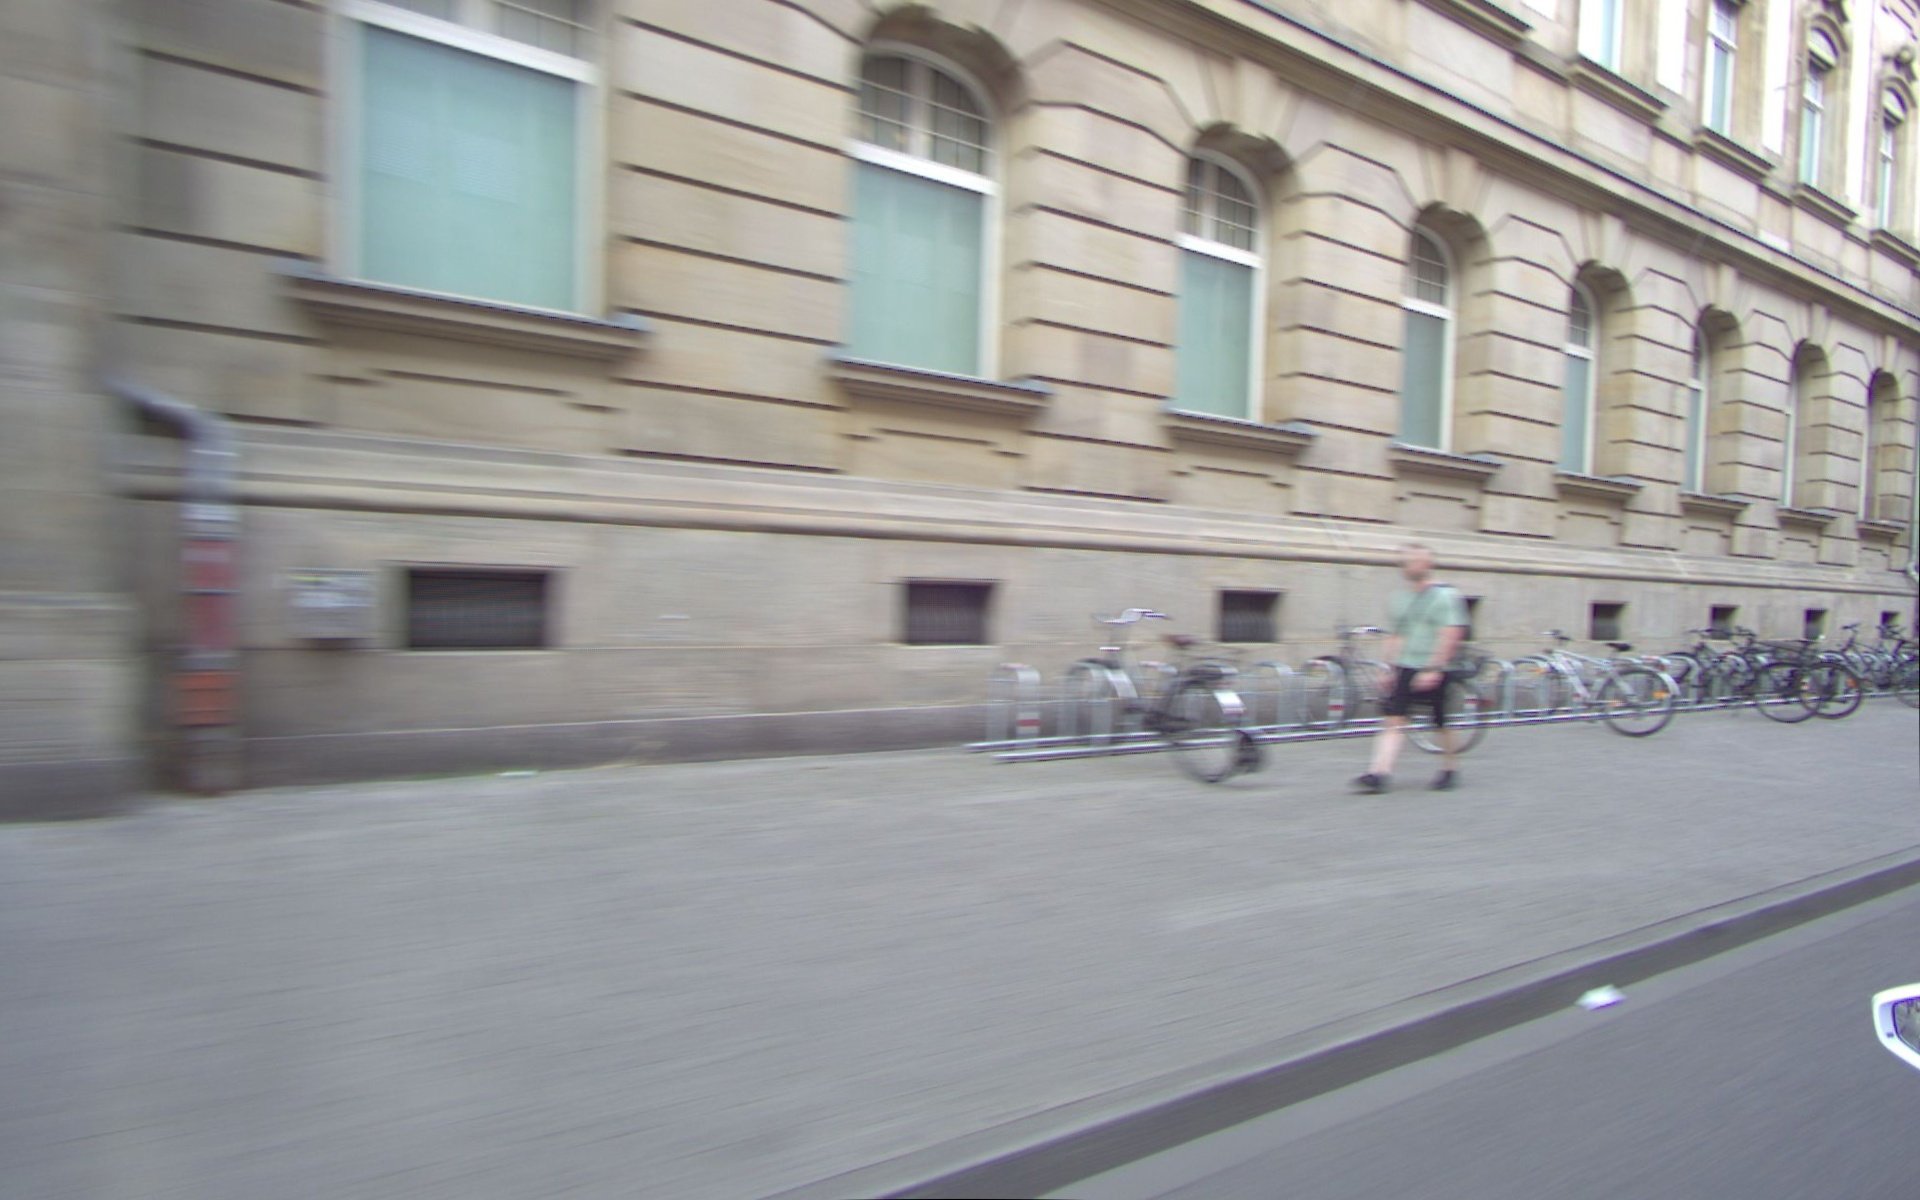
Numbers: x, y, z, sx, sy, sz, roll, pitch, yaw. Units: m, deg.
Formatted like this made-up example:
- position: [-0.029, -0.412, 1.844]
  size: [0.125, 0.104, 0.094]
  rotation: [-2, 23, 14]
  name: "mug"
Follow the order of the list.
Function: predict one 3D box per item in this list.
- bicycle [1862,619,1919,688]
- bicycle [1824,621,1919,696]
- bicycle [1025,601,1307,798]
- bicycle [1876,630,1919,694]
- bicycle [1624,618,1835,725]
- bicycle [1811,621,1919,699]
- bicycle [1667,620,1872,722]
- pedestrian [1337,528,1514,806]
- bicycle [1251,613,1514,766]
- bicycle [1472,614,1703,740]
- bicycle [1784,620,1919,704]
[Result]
- position: [16.495, 0.943, 16.798]
  size: [0.740, 1.093, 1.926]
  rotation: [2, 3, -31]
  name: "bicycle"
- position: [15.363, 0.971, 16.255]
  size: [0.723, 1.093, 1.922]
  rotation: [1, 3, -37]
  name: "bicycle"
- position: [1.423, 0.642, 7.365]
  size: [0.723, 1.124, 2.003]
  rotation: [1, 3, -37]
  name: "bicycle"
- position: [17.224, 1.122, 17.347]
  size: [0.714, 1.060, 1.922]
  rotation: [1, 2, -35]
  name: "bicycle"
- position: [9.597, 0.853, 12.605]
  size: [0.723, 1.093, 1.922]
  rotation: [1, 3, -37]
  name: "bicycle"
- position: [14.749, 0.950, 15.794]
  size: [0.723, 1.093, 1.922]
  rotation: [1, 3, -37]
  name: "bicycle"
- position: [10.598, 0.890, 13.220]
  size: [0.723, 1.093, 1.922]
  rotation: [1, 3, -37]
  name: "bicycle"
- position: [3.240, 0.427, 7.018]
  size: [0.791, 1.804, 0.713]
  rotation: [1, 3, -31]
  name: "pedestrian"
- position: [3.743, 0.733, 9.023]
  size: [1.995, 1.093, 0.727]
  rotation: [5, 3, 40]
  name: "bicycle"
- position: [6.665, 0.773, 10.786]
  size: [0.723, 1.093, 1.925]
  rotation: [2, 3, -34]
  name: "bicycle"
- position: [13.686, 0.920, 15.037]
  size: [0.723, 1.093, 1.922]
  rotation: [1, 3, -37]
  name: "bicycle"
